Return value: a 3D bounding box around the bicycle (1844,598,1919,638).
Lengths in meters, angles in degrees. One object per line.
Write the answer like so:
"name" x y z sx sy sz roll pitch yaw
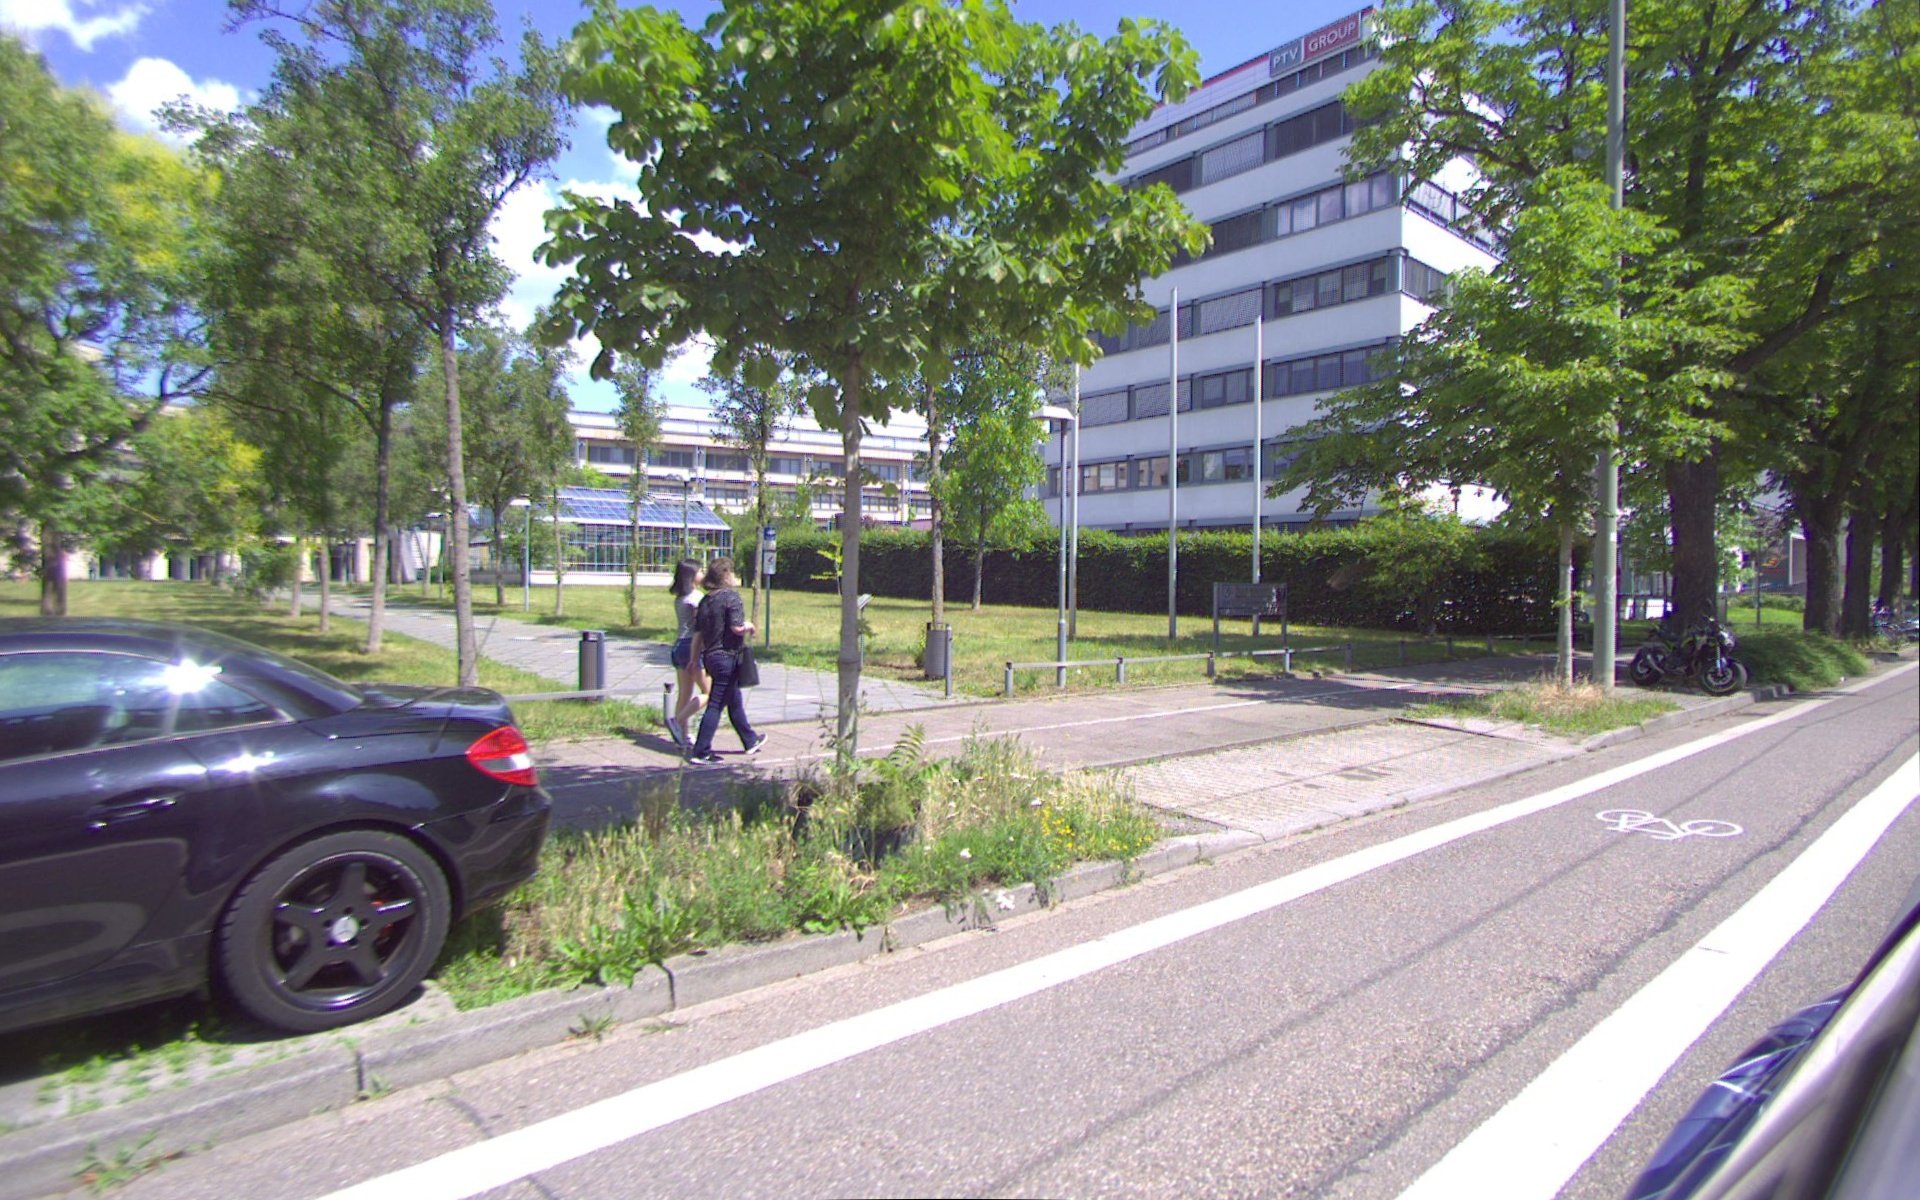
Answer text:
"bicycle" 27.959 0.532 30.611 1.806 1.125 0.525 2 2 41

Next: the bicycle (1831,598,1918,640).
"bicycle" 26.521 0.531 29.375 0.388 1.125 1.810 0 2 -43

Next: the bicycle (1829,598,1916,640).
"bicycle" 26.211 0.533 29.086 0.442 1.125 1.810 0 2 -43

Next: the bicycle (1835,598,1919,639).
"bicycle" 26.834 0.524 29.613 0.388 1.125 1.810 0 2 -43

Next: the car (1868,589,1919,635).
"car" 32.882 0.395 35.006 4.554 1.485 1.679 0 2 -42

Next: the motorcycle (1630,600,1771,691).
"motorcycle" 11.296 0.652 15.532 0.601 1.227 2.063 -1 1 -2

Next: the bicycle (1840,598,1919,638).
"bicycle" 27.476 0.525 30.182 1.803 1.125 0.484 2 2 36

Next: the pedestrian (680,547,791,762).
"pedestrian" -1.756 0.390 7.904 0.600 1.593 0.620 0 2 -40

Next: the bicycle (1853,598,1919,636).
"bicycle" 28.936 0.515 31.390 0.506 1.125 1.809 0 2 -43

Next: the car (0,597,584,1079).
"car" -3.379 0.647 3.186 3.766 1.286 1.754 0 0 -41

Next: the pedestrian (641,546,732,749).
"pedestrian" -2.245 0.361 8.309 0.535 1.593 0.514 0 2 -40

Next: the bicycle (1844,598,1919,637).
"bicycle" 28.370 0.525 31.067 1.806 1.125 0.528 2 2 41
